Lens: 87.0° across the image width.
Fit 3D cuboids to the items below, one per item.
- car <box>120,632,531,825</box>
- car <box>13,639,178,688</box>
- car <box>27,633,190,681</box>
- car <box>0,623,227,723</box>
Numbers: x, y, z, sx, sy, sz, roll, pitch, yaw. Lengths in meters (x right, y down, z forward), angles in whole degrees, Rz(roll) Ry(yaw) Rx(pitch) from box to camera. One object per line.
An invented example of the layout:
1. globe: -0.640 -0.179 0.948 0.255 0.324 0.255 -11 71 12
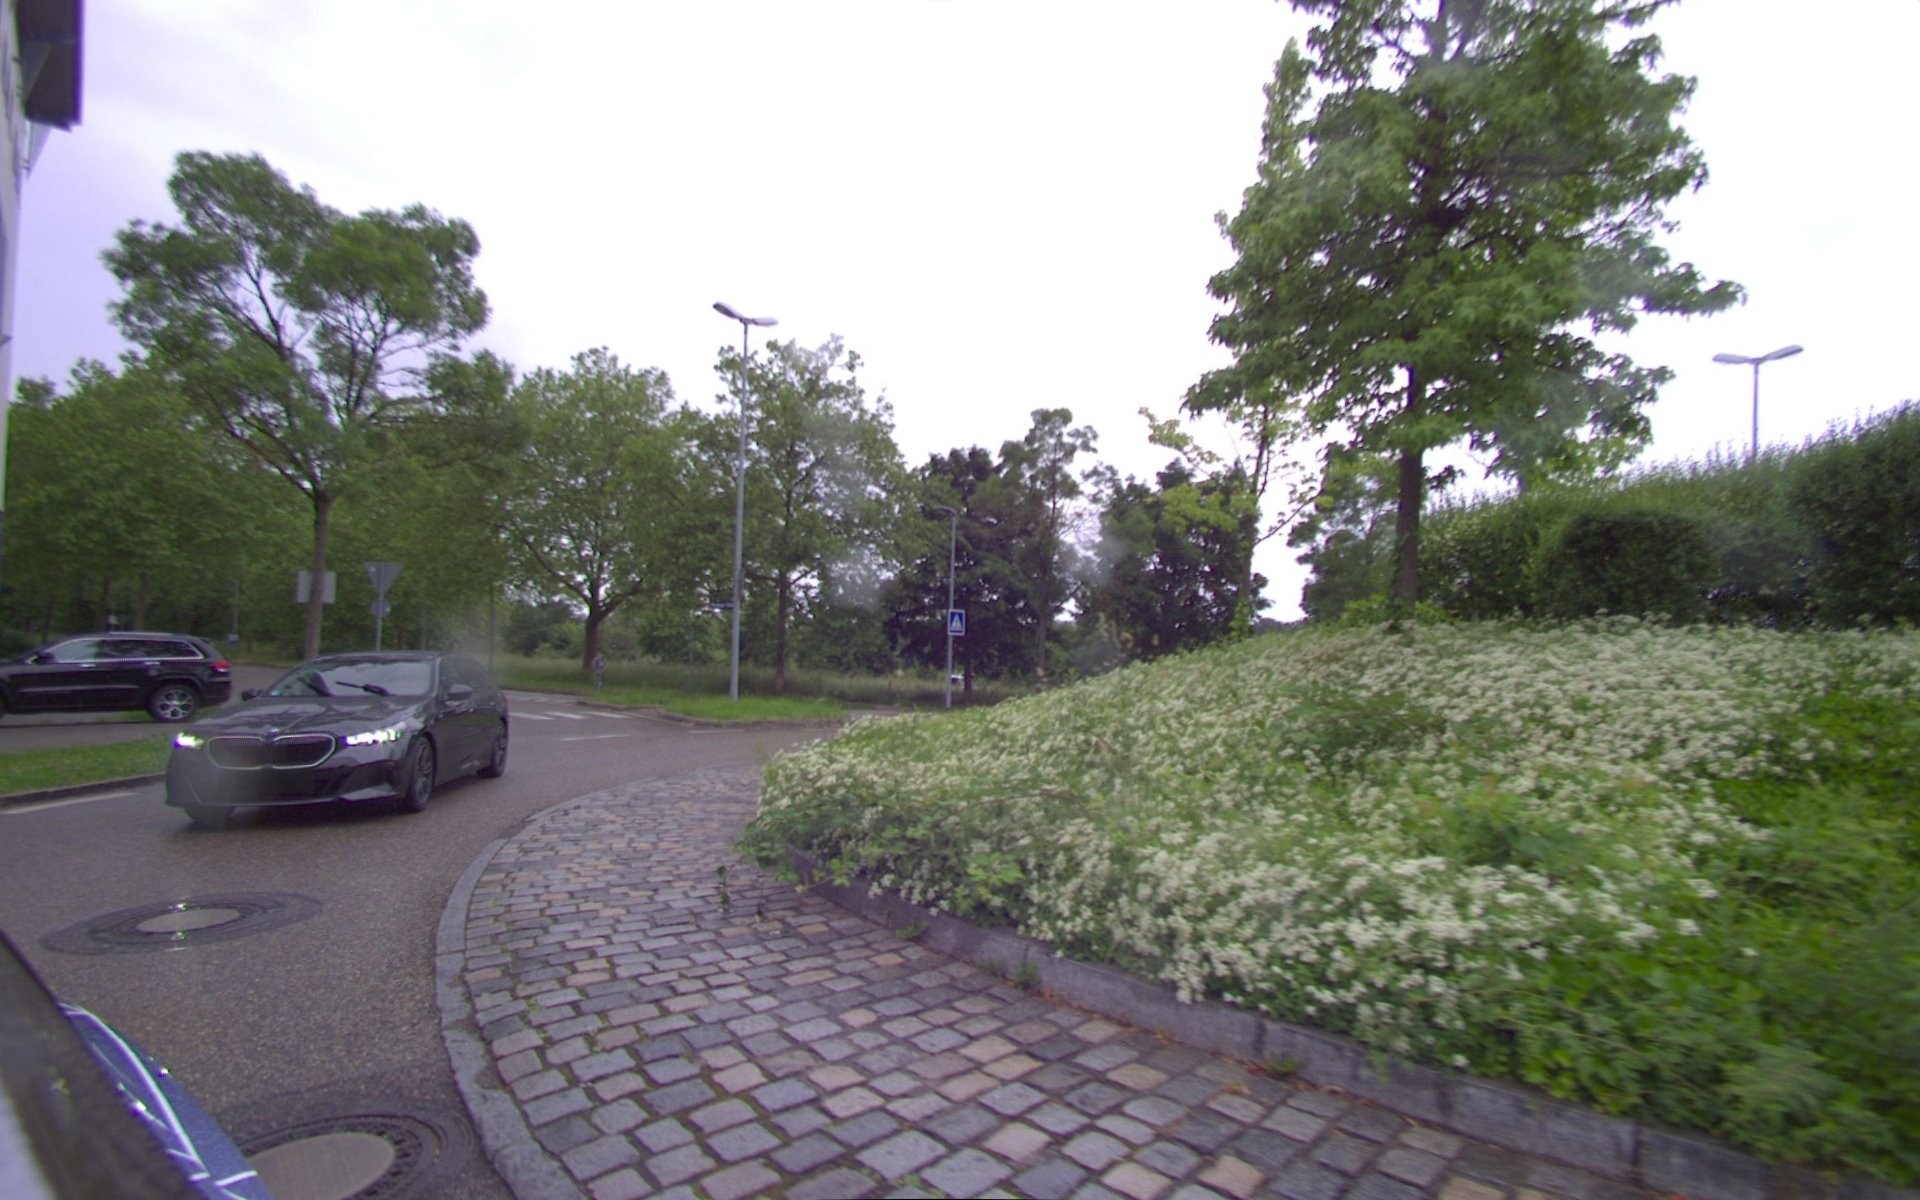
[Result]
1. car: -6.049 1.207 10.496 1.815 1.506 4.910 2 -5 -9
2. car: -27.742 2.064 32.589 3.890 1.464 1.723 5 -4 -42
3. car: -31.865 2.162 37.977 1.767 1.693 4.421 -3 -5 43
4. car: -16.936 1.397 19.499 4.324 1.773 1.831 3 -6 -43
